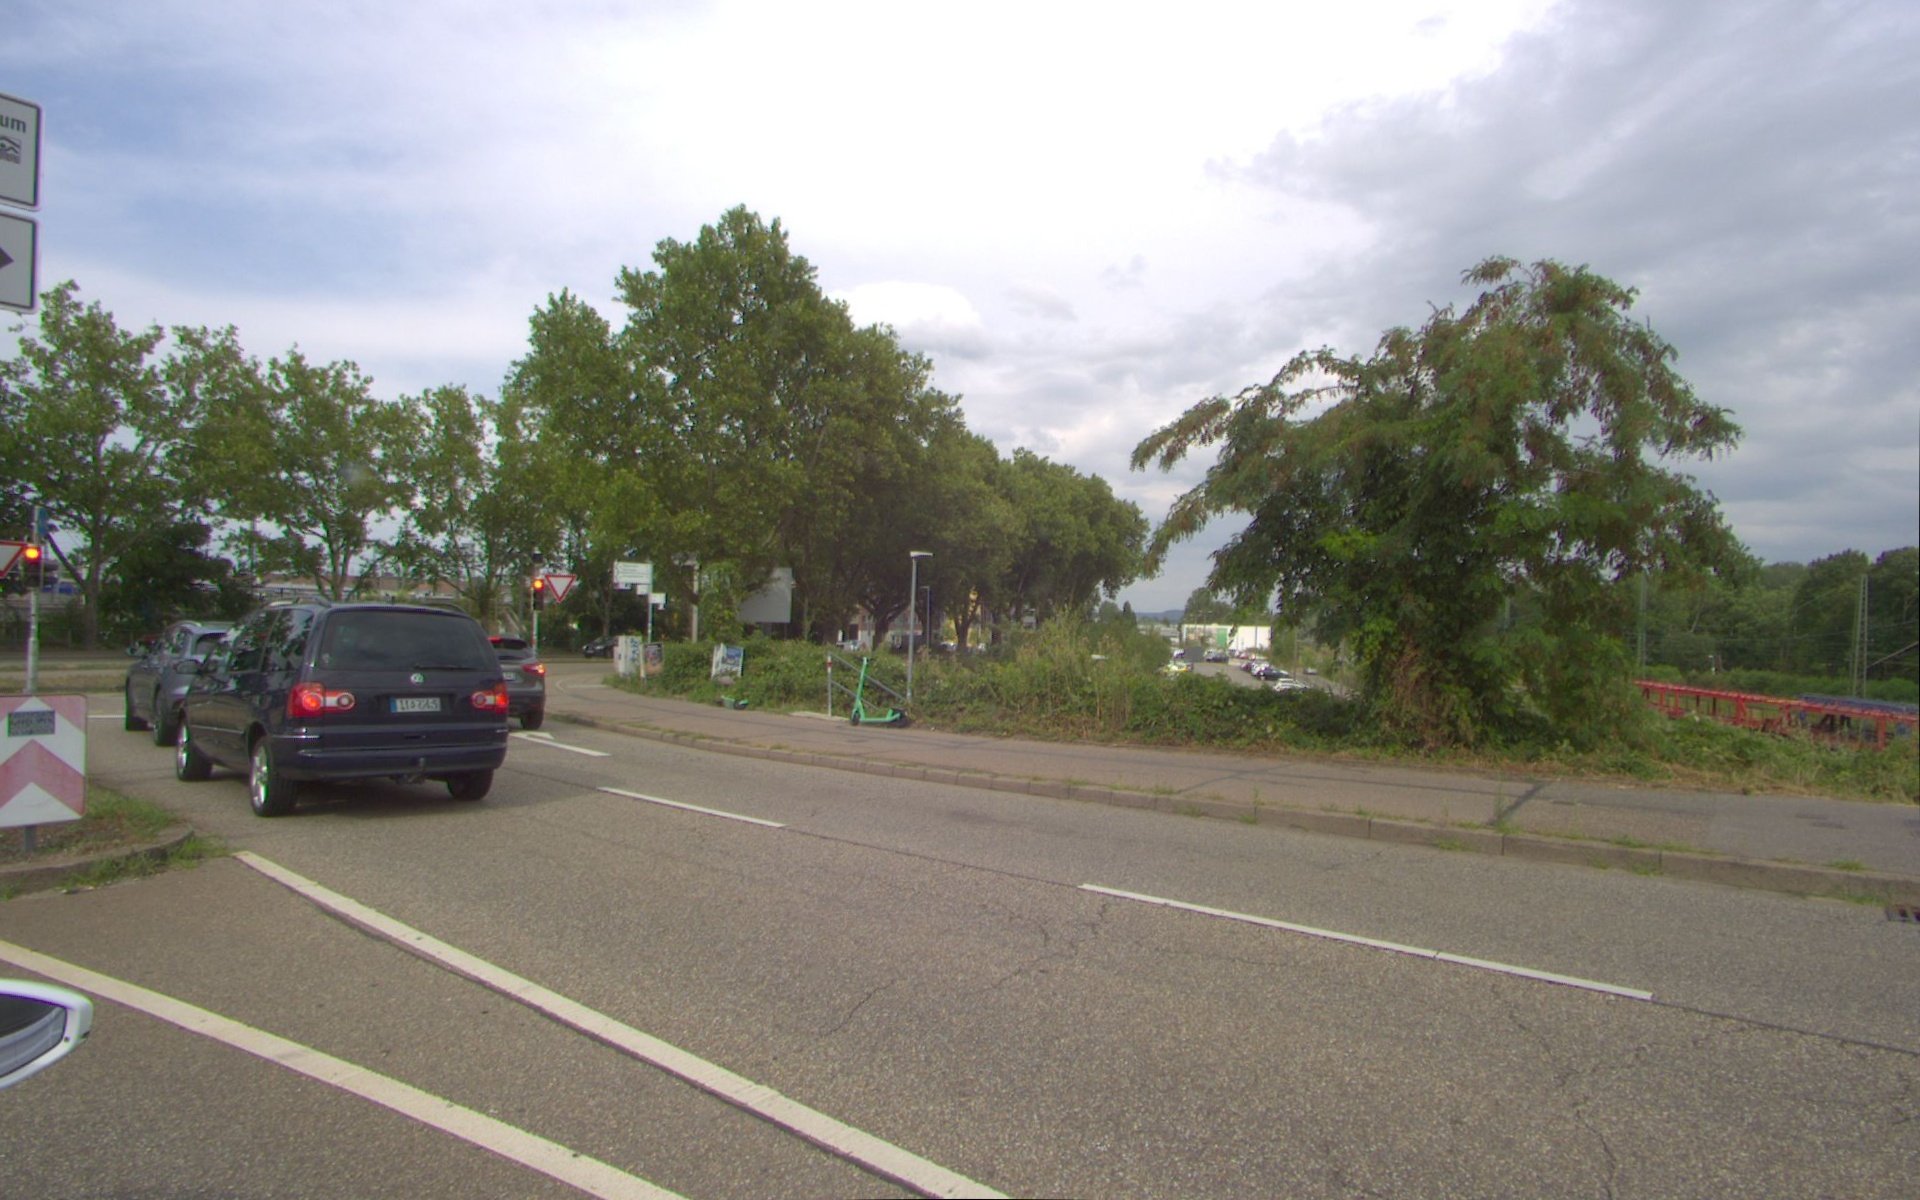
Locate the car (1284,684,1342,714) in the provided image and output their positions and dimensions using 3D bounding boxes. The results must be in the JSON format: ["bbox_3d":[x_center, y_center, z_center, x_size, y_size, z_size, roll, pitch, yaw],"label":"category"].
[{"bbox_3d":[26.894,7.509,76.363,3.923,2.040,1.762,1,-1,10],"label":"car"}]

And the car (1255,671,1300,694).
[{"bbox_3d":[31.226,8.136,98.583,3.923,2.040,1.762,1,-1,10],"label":"car"}]

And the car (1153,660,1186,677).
[{"bbox_3d":[26.715,8.705,127.666,3.926,2.040,1.761,1,-1,16],"label":"car"}]

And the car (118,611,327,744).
[{"bbox_3d":[-10.533,1.036,14.192,4.113,1.604,1.682,-2,-4,44],"label":"car"}]

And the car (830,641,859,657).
[{"bbox_3d":[-12.813,5.427,111.353,1.778,1.745,3.996,0,-1,16],"label":"car"}]

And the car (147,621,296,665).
[{"bbox_3d":[-24.691,1.417,33.661,1.670,1.385,4.071,1,-1,8],"label":"car"}]

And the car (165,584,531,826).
[{"bbox_3d":[-5.785,0.852,9.265,4.092,1.746,1.743,-1,-4,42],"label":"car"}]

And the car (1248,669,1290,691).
[{"bbox_3d":[32.111,8.290,104.241,3.923,2.040,1.762,1,-1,10],"label":"car"}]

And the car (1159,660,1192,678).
[{"bbox_3d":[26.845,8.640,124.767,3.926,2.040,1.761,1,-1,16],"label":"car"}]

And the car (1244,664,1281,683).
[{"bbox_3d":[36.121,8.748,119.571,3.923,2.040,1.762,1,-1,10],"label":"car"}]

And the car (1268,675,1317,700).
[{"bbox_3d":[30.024,7.917,90.490,3.923,2.040,1.762,1,-1,10],"label":"car"}]

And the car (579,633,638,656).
[{"bbox_3d":[-24.356,3.050,69.519,1.729,1.466,4.339,0,-1,16],"label":"car"}]

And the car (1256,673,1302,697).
[{"bbox_3d":[30.175,8.022,94.811,3.923,2.040,1.762,1,-1,10],"label":"car"}]

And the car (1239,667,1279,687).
[{"bbox_3d":[32.901,8.451,110.270,3.923,2.040,1.762,1,-1,10],"label":"car"}]

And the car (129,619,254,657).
[{"bbox_3d":[-31.801,1.549,41.587,1.670,1.466,3.963,1,-1,12],"label":"car"}]

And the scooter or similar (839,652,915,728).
[{"bbox_3d":[-1.365,1.460,16.436,1.262,1.198,0.396,-1,-1,32],"label":"scooter or similar"}]

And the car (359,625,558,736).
[{"bbox_3d":[-8.669,1.312,17.160,4.094,1.663,1.742,-2,-4,44],"label":"car"}]

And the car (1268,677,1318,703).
[{"bbox_3d":[28.971,7.814,87.178,3.923,2.040,1.762,1,-1,10],"label":"car"}]

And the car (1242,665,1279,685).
[{"bbox_3d":[34.698,8.621,115.626,3.923,2.040,1.762,1,-1,10],"label":"car"}]
